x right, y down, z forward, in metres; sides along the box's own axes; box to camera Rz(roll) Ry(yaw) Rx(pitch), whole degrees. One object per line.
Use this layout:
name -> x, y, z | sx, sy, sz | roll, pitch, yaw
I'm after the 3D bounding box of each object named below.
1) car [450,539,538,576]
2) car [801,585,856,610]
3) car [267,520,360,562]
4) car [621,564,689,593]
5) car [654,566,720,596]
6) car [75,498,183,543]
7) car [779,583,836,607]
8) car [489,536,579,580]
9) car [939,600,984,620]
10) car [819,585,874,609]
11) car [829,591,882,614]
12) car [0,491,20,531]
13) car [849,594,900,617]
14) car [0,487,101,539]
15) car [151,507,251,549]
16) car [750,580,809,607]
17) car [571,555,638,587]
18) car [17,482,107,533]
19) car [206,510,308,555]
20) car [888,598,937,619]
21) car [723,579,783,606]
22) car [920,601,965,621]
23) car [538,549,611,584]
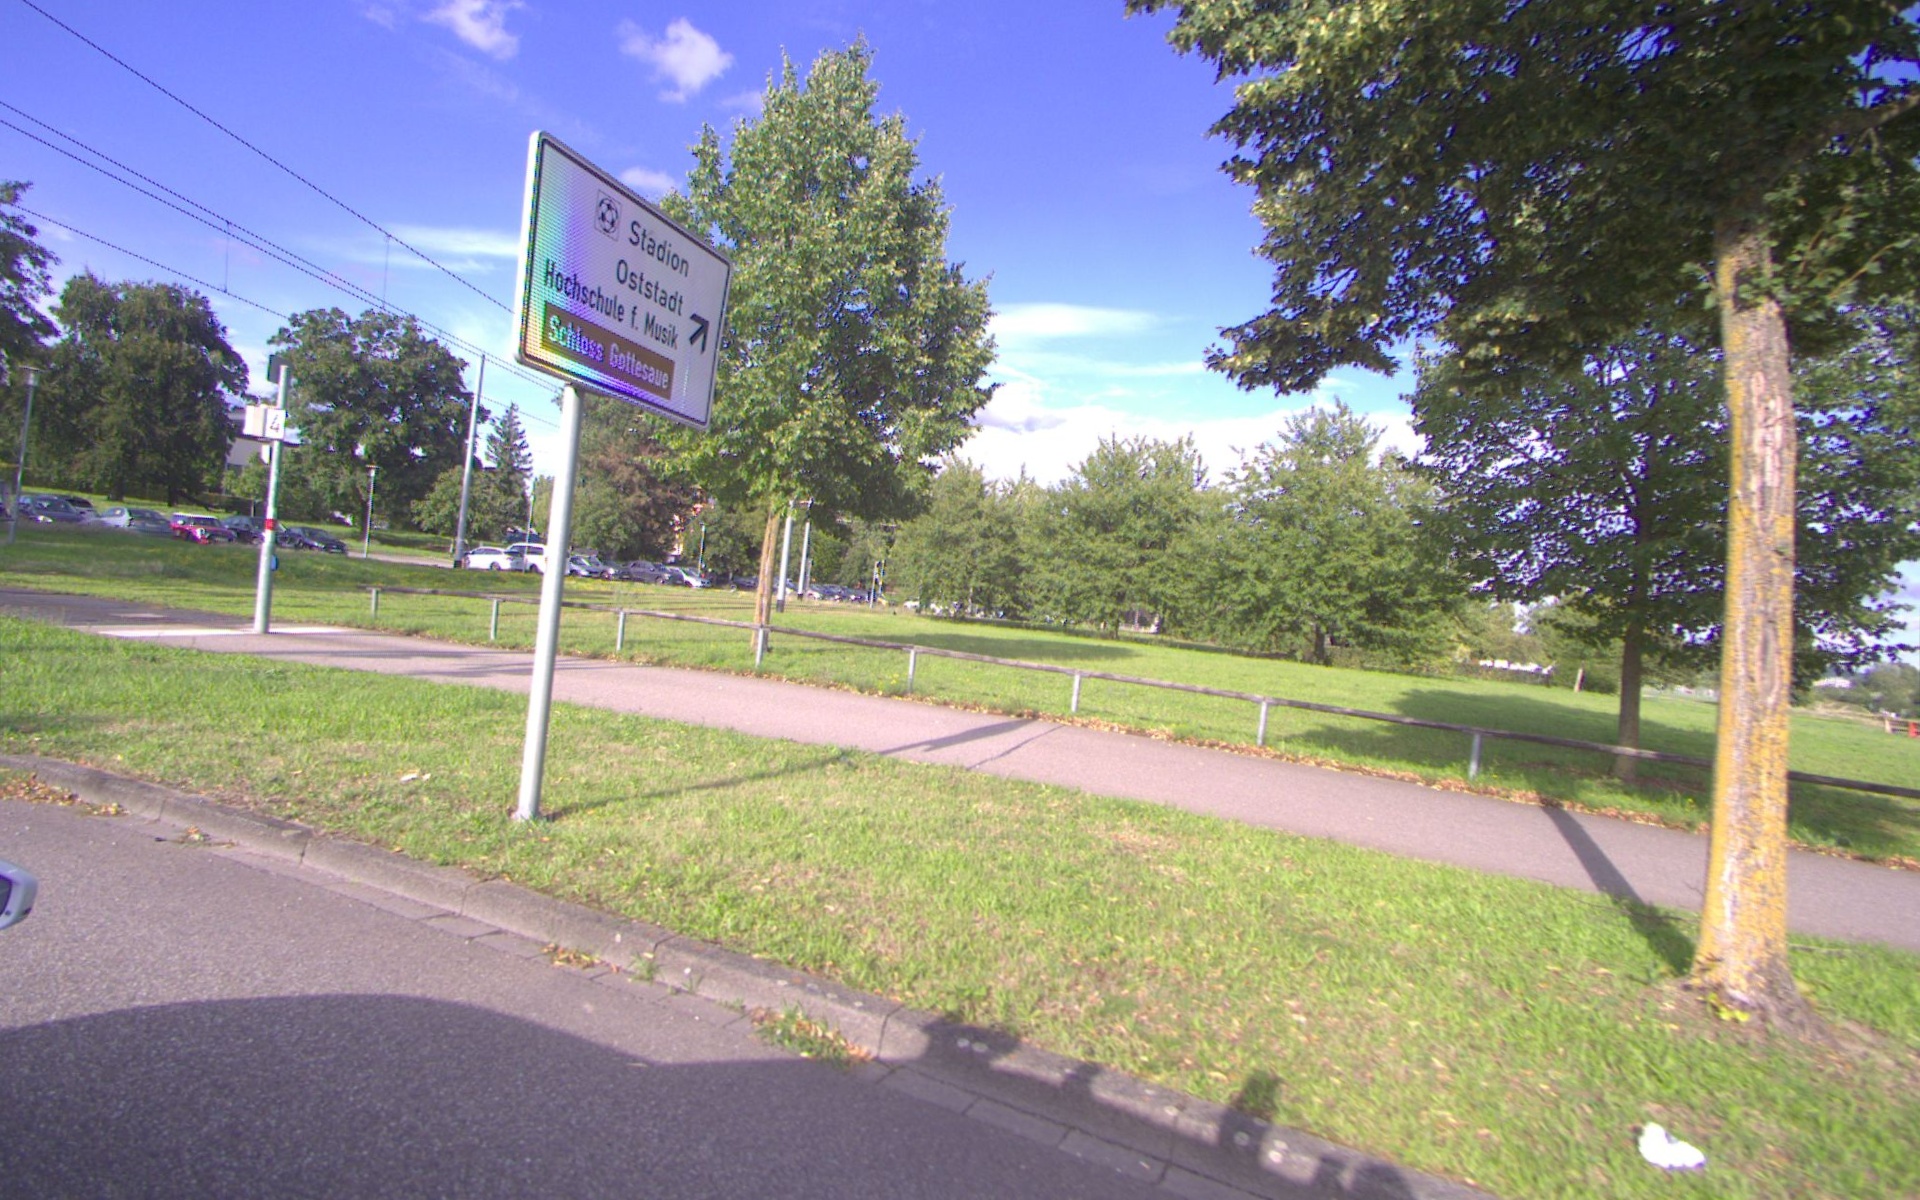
car -> -25.990, -2.357, 56.125 | 4.387, 1.535, 1.860 | 7, 1, 22
car -> -11.077, -0.209, 84.564 | 4.397, 1.560, 1.854 | 7, 1, 33
car -> -30.828, -2.817, 47.944 | 4.393, 1.535, 1.857 | 7, 1, 30
car -> -20.418, -1.452, 67.292 | 4.397, 1.416, 1.856 | 7, 1, 33
car -> -18.905, -1.310, 69.573 | 4.397, 1.523, 1.856 | 7, 1, 33
car -> -34.382, -3.296, 41.589 | 4.752, 1.375, 1.857 | 7, 1, 30
car -> -12.476, -0.419, 82.332 | 4.397, 1.472, 1.854 | 7, 1, 33
car -> -24.875, -2.458, 58.697 | 5.030, 2.033, 2.310 | 7, 1, 33
car -> 0.149, 1.060, 105.414 | 4.405, 1.560, 1.850 | 7, 1, 41
car -> -9.834, -0.274, 87.068 | 4.397, 1.560, 1.854 | 7, 1, 33
car -> -9.270, 0.197, 89.384 | 4.397, 1.560, 1.854 | 7, 1, 33
car -> -36.503, -3.446, 36.721 | 4.653, 1.376, 1.857 | 7, 1, 30
car -> -7.814, 0.462, 91.734 | 4.397, 1.560, 1.854 | 7, 1, 33
car -> -35.426, -3.394, 38.886 | 4.667, 1.535, 1.857 | 7, 1, 30
car -> -33.046, -3.138, 43.766 | 4.393, 1.380, 1.857 | 7, 1, 30
car -> -14.128, -0.524, 78.769 | 4.397, 1.560, 1.854 | 7, 1, 33
car -> -22.393, -1.835, 63.351 | 4.050, 1.534, 2.028 | 7, 1, 38
car -> -43.499, -4.508, 48.712 | 4.732, 2.037, 1.874 | 5, -2, 32
car -> -31.860, -3.057, 45.548 | 4.861, 1.535, 1.857 | 7, 1, 30
car -> -4.608, 0.822, 98.115 | 4.394, 1.494, 1.795 | 7, 1, 30
car -> -15.775, -0.594, 76.715 | 4.397, 1.535, 1.798 | 7, 1, 33
car -> -1.811, 1.102, 103.361 | 4.405, 1.560, 1.850 | 7, 1, 41
car -> -23.578, -2.061, 61.490 | 4.402, 1.695, 2.094 | 7, 1, 38
